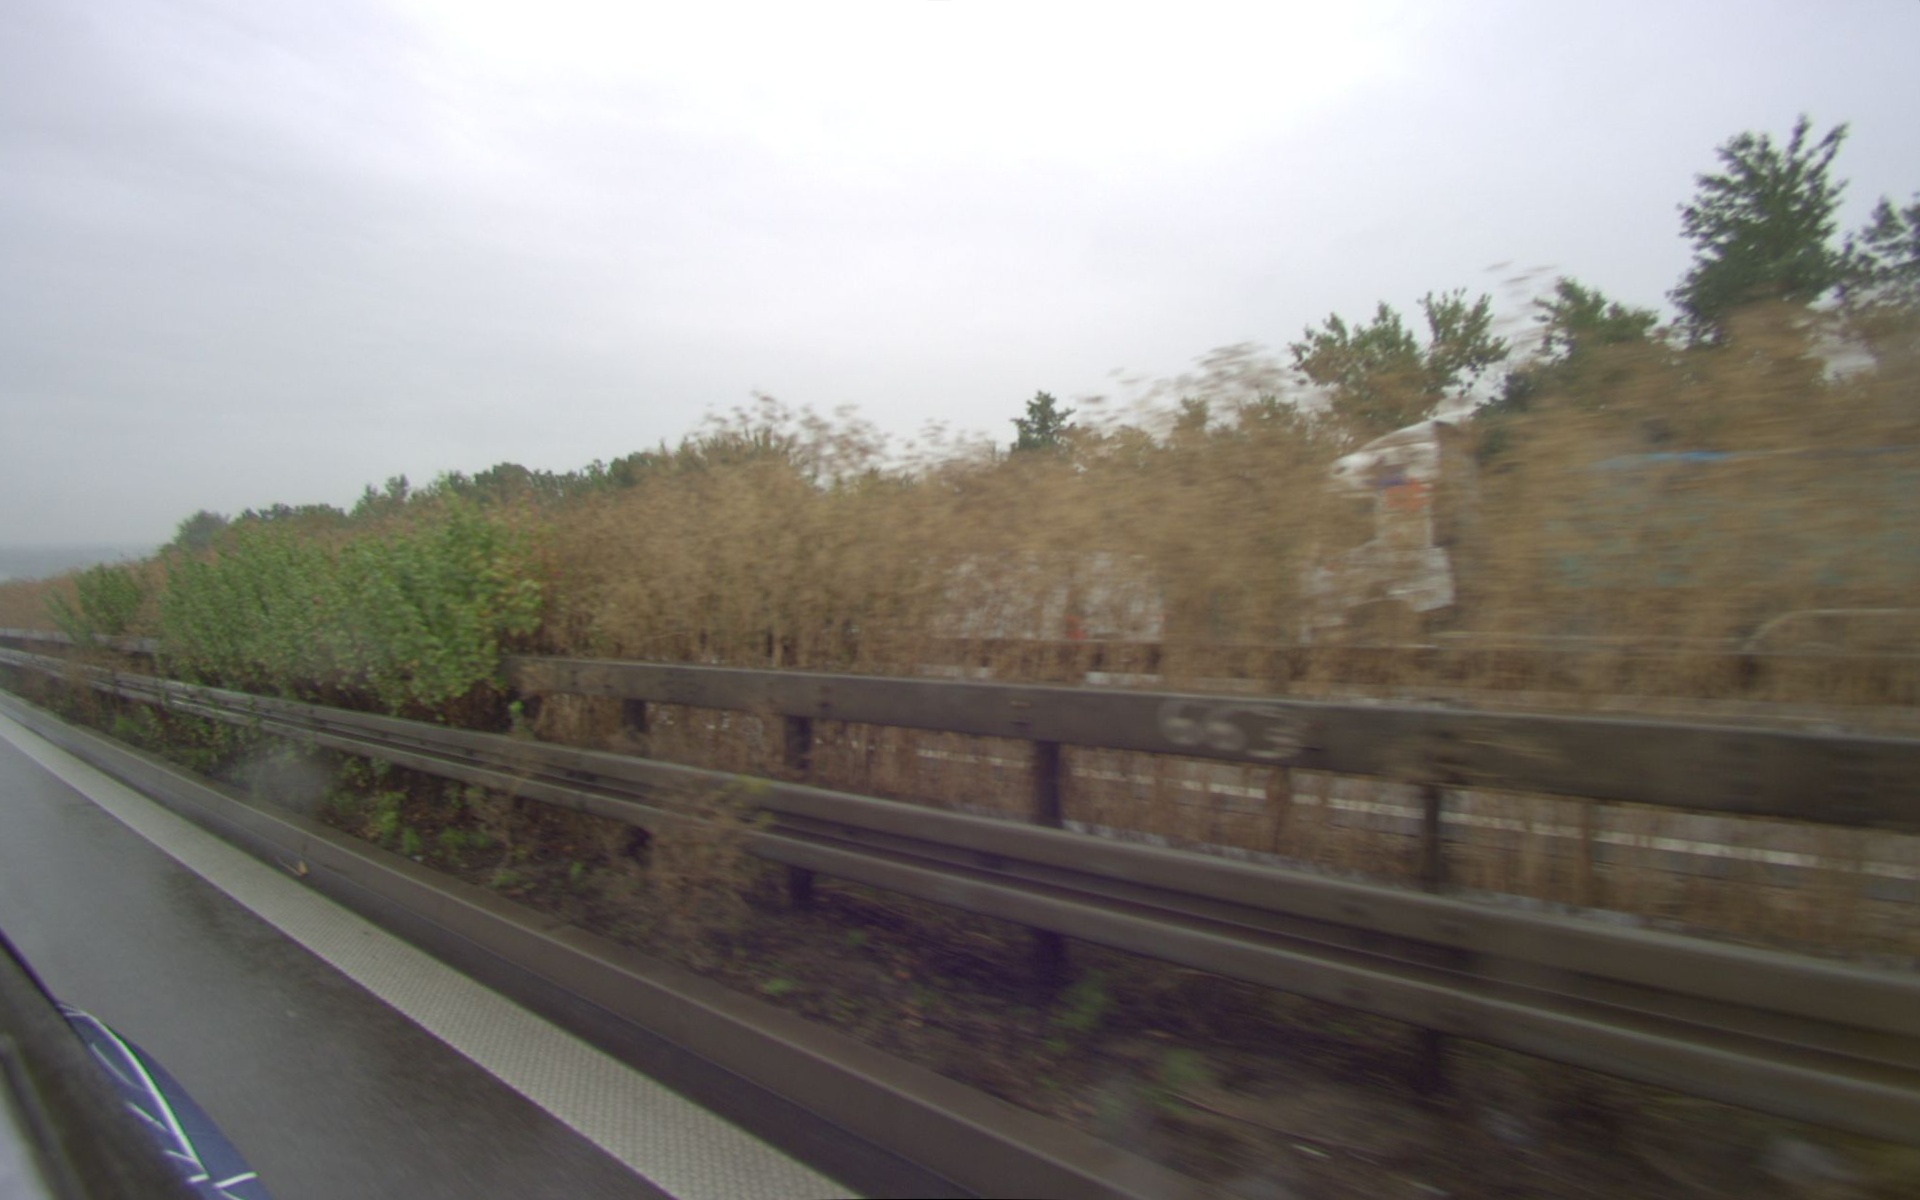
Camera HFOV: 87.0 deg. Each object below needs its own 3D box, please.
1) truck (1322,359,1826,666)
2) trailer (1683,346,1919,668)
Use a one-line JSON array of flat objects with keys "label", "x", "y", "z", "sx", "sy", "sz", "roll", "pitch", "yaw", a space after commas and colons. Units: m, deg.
[{"label": "truck", "x": 8.217, "y": -0.948, "z": 13.900, "sx": 5.527, "sy": 3.364, "sz": 2.621, "roll": -1, "pitch": 0, "yaw": 41}, {"label": "trailer", "x": 13.821, "y": -1.012, "z": 9.010, "sx": 11.830, "sy": 3.364, "sz": 2.623, "roll": -1, "pitch": 0, "yaw": 41}]
